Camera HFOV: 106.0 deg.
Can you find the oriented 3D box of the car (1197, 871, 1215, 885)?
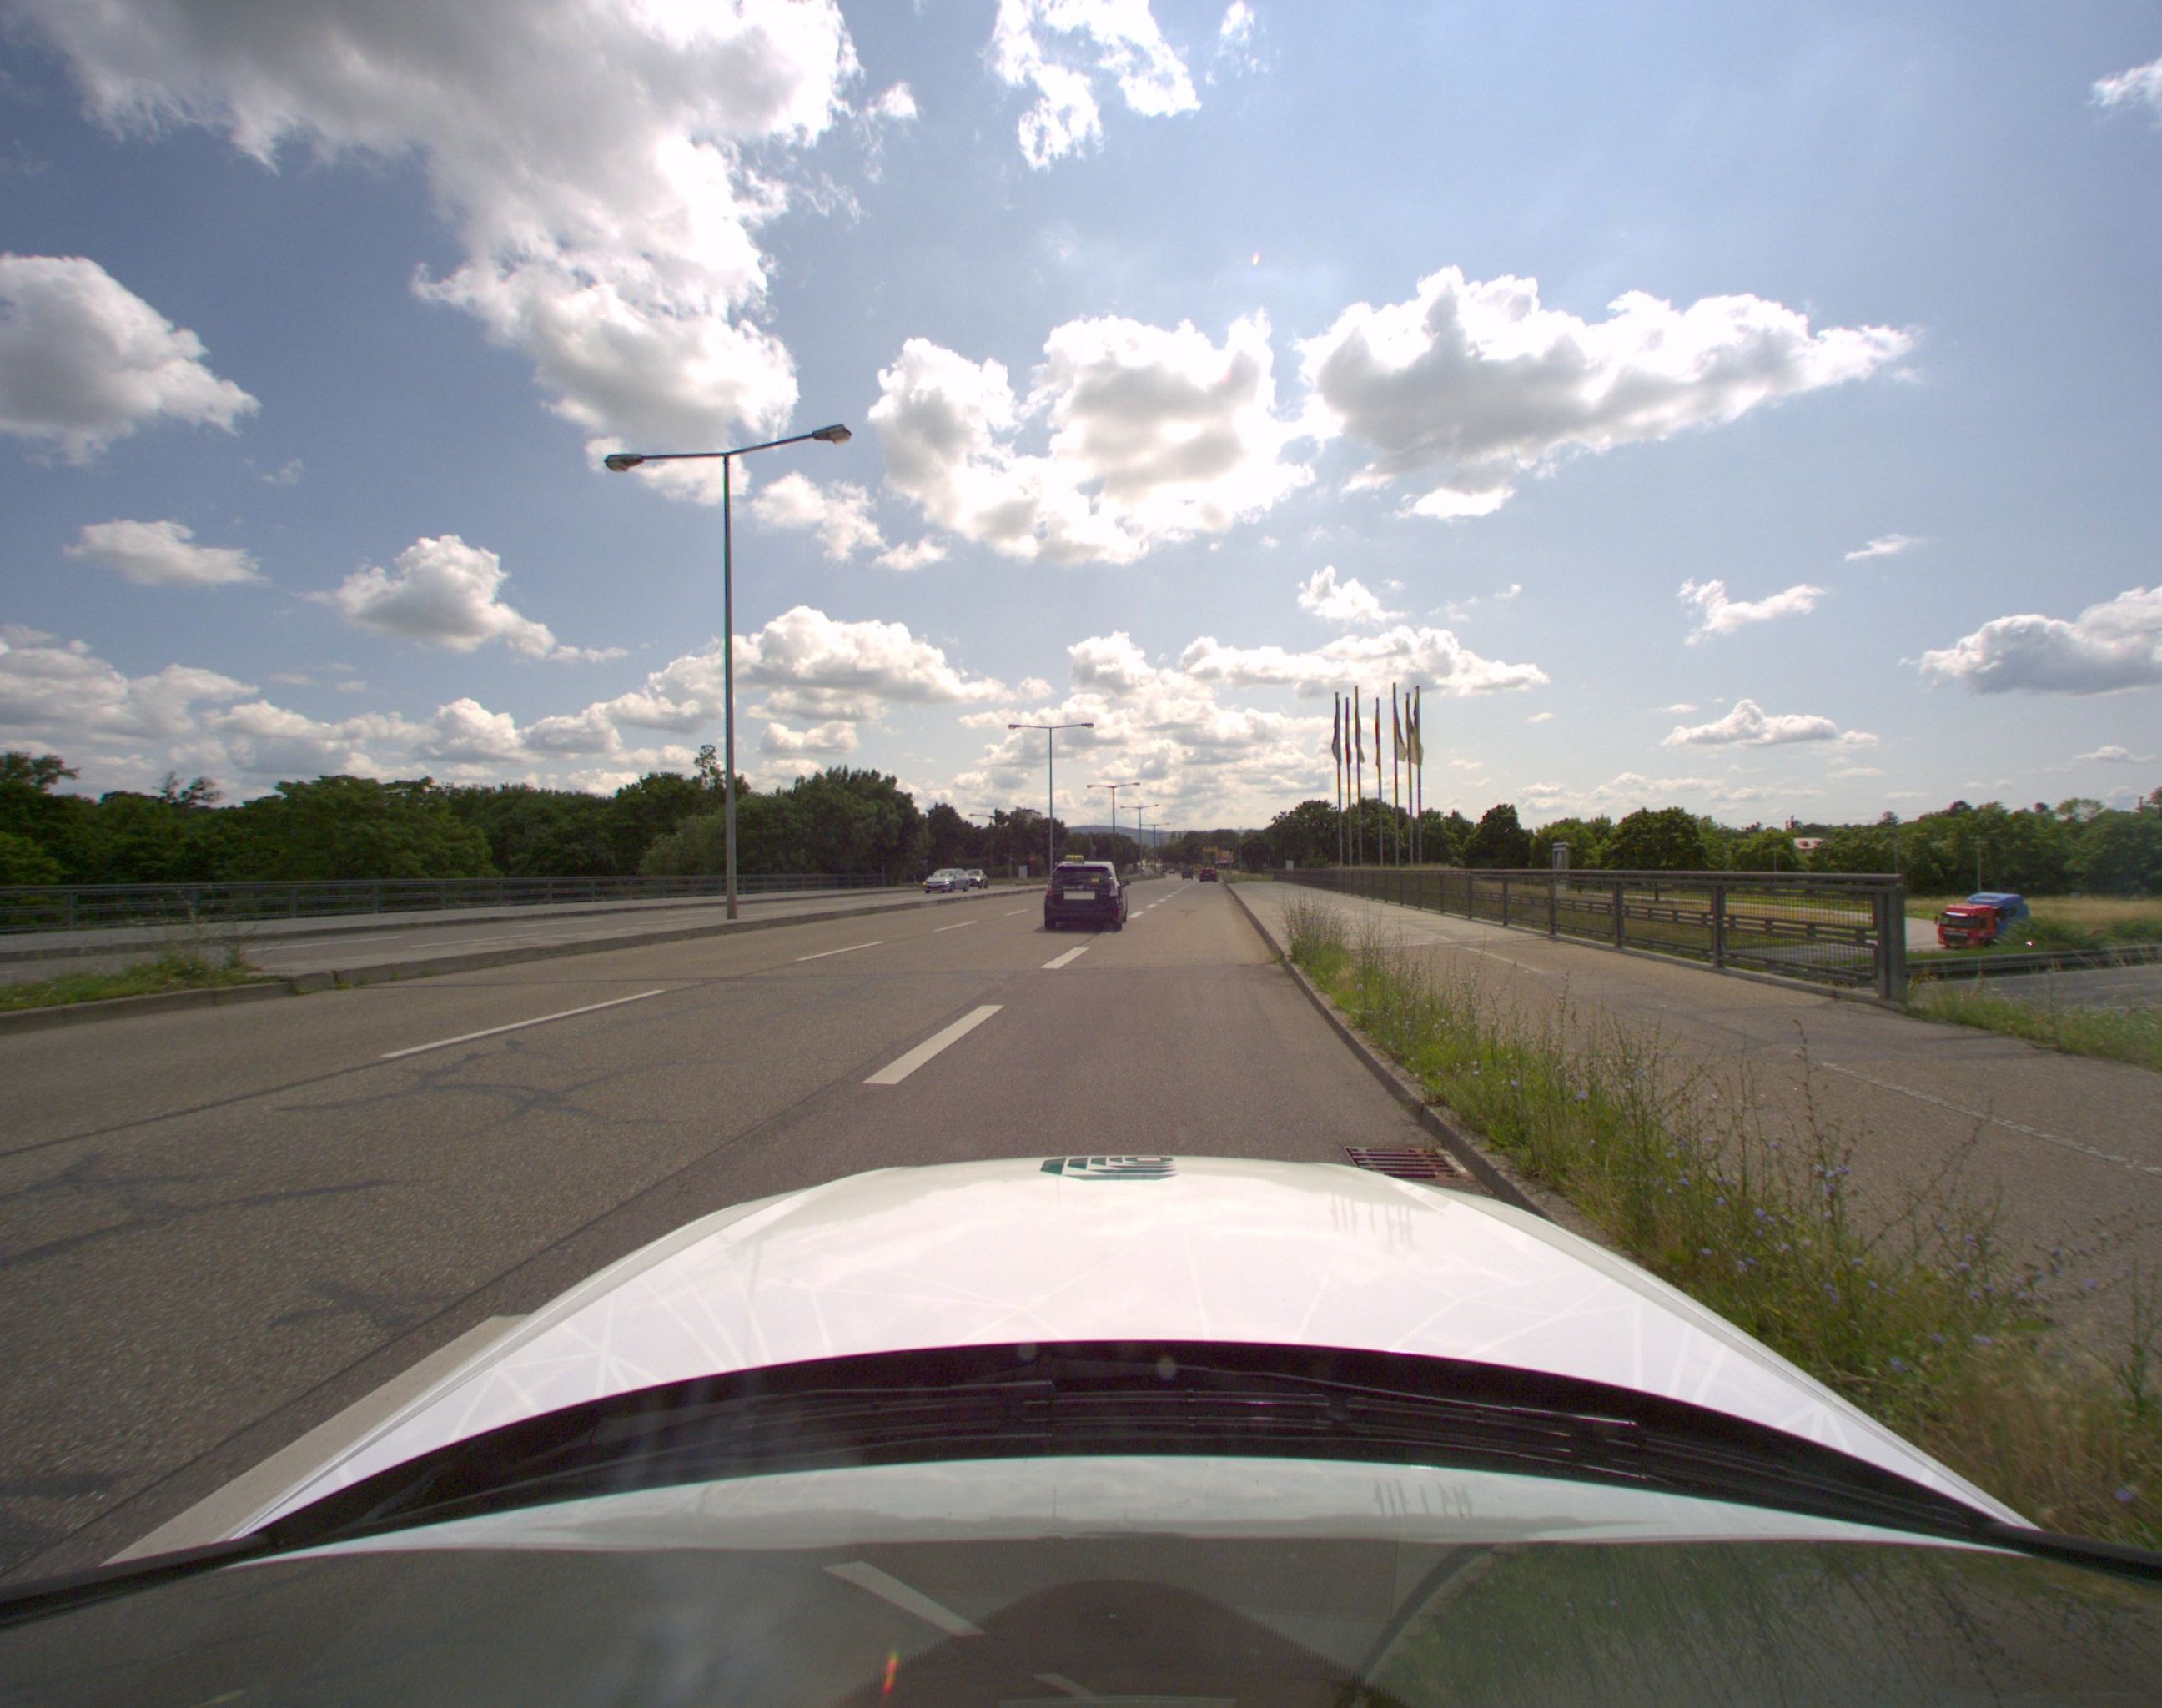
[{"bbox_3d":[15.645,2.979,102.039,1.984,1.662,4.006,1,0,5],"label":"car"}]

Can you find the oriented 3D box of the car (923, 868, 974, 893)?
[{"bbox_3d":[-8.300,1.642,51.494,1.653,1.413,4.563,-3,-1,10],"label":"car"}]

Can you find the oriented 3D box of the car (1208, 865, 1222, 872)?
[{"bbox_3d":[31.745,3.396,192.809,1.996,1.662,3.981,1,0,-14],"label":"car"}]

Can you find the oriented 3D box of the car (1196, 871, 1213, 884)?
[{"bbox_3d":[16.688,3.201,110.145,1.984,1.662,4.006,1,0,5],"label":"car"}]

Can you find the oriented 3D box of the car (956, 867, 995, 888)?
[{"bbox_3d":[-8.792,1.958,68.217,2.077,1.626,4.559,1,0,7],"label":"car"}]

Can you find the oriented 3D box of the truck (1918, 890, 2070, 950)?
[{"bbox_3d":[73.331,5.239,65.502,9.607,4.403,4.001,1,0,-12],"label":"truck"}]

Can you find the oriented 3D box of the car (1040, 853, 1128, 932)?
[{"bbox_3d":[0.184,0.828,19.577,1.771,1.684,4.005,1,0,5],"label":"car"}]

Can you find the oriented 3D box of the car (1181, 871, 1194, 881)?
[{"bbox_3d":[18.168,3.723,138.866,1.984,1.662,4.006,1,0,5],"label":"car"}]
